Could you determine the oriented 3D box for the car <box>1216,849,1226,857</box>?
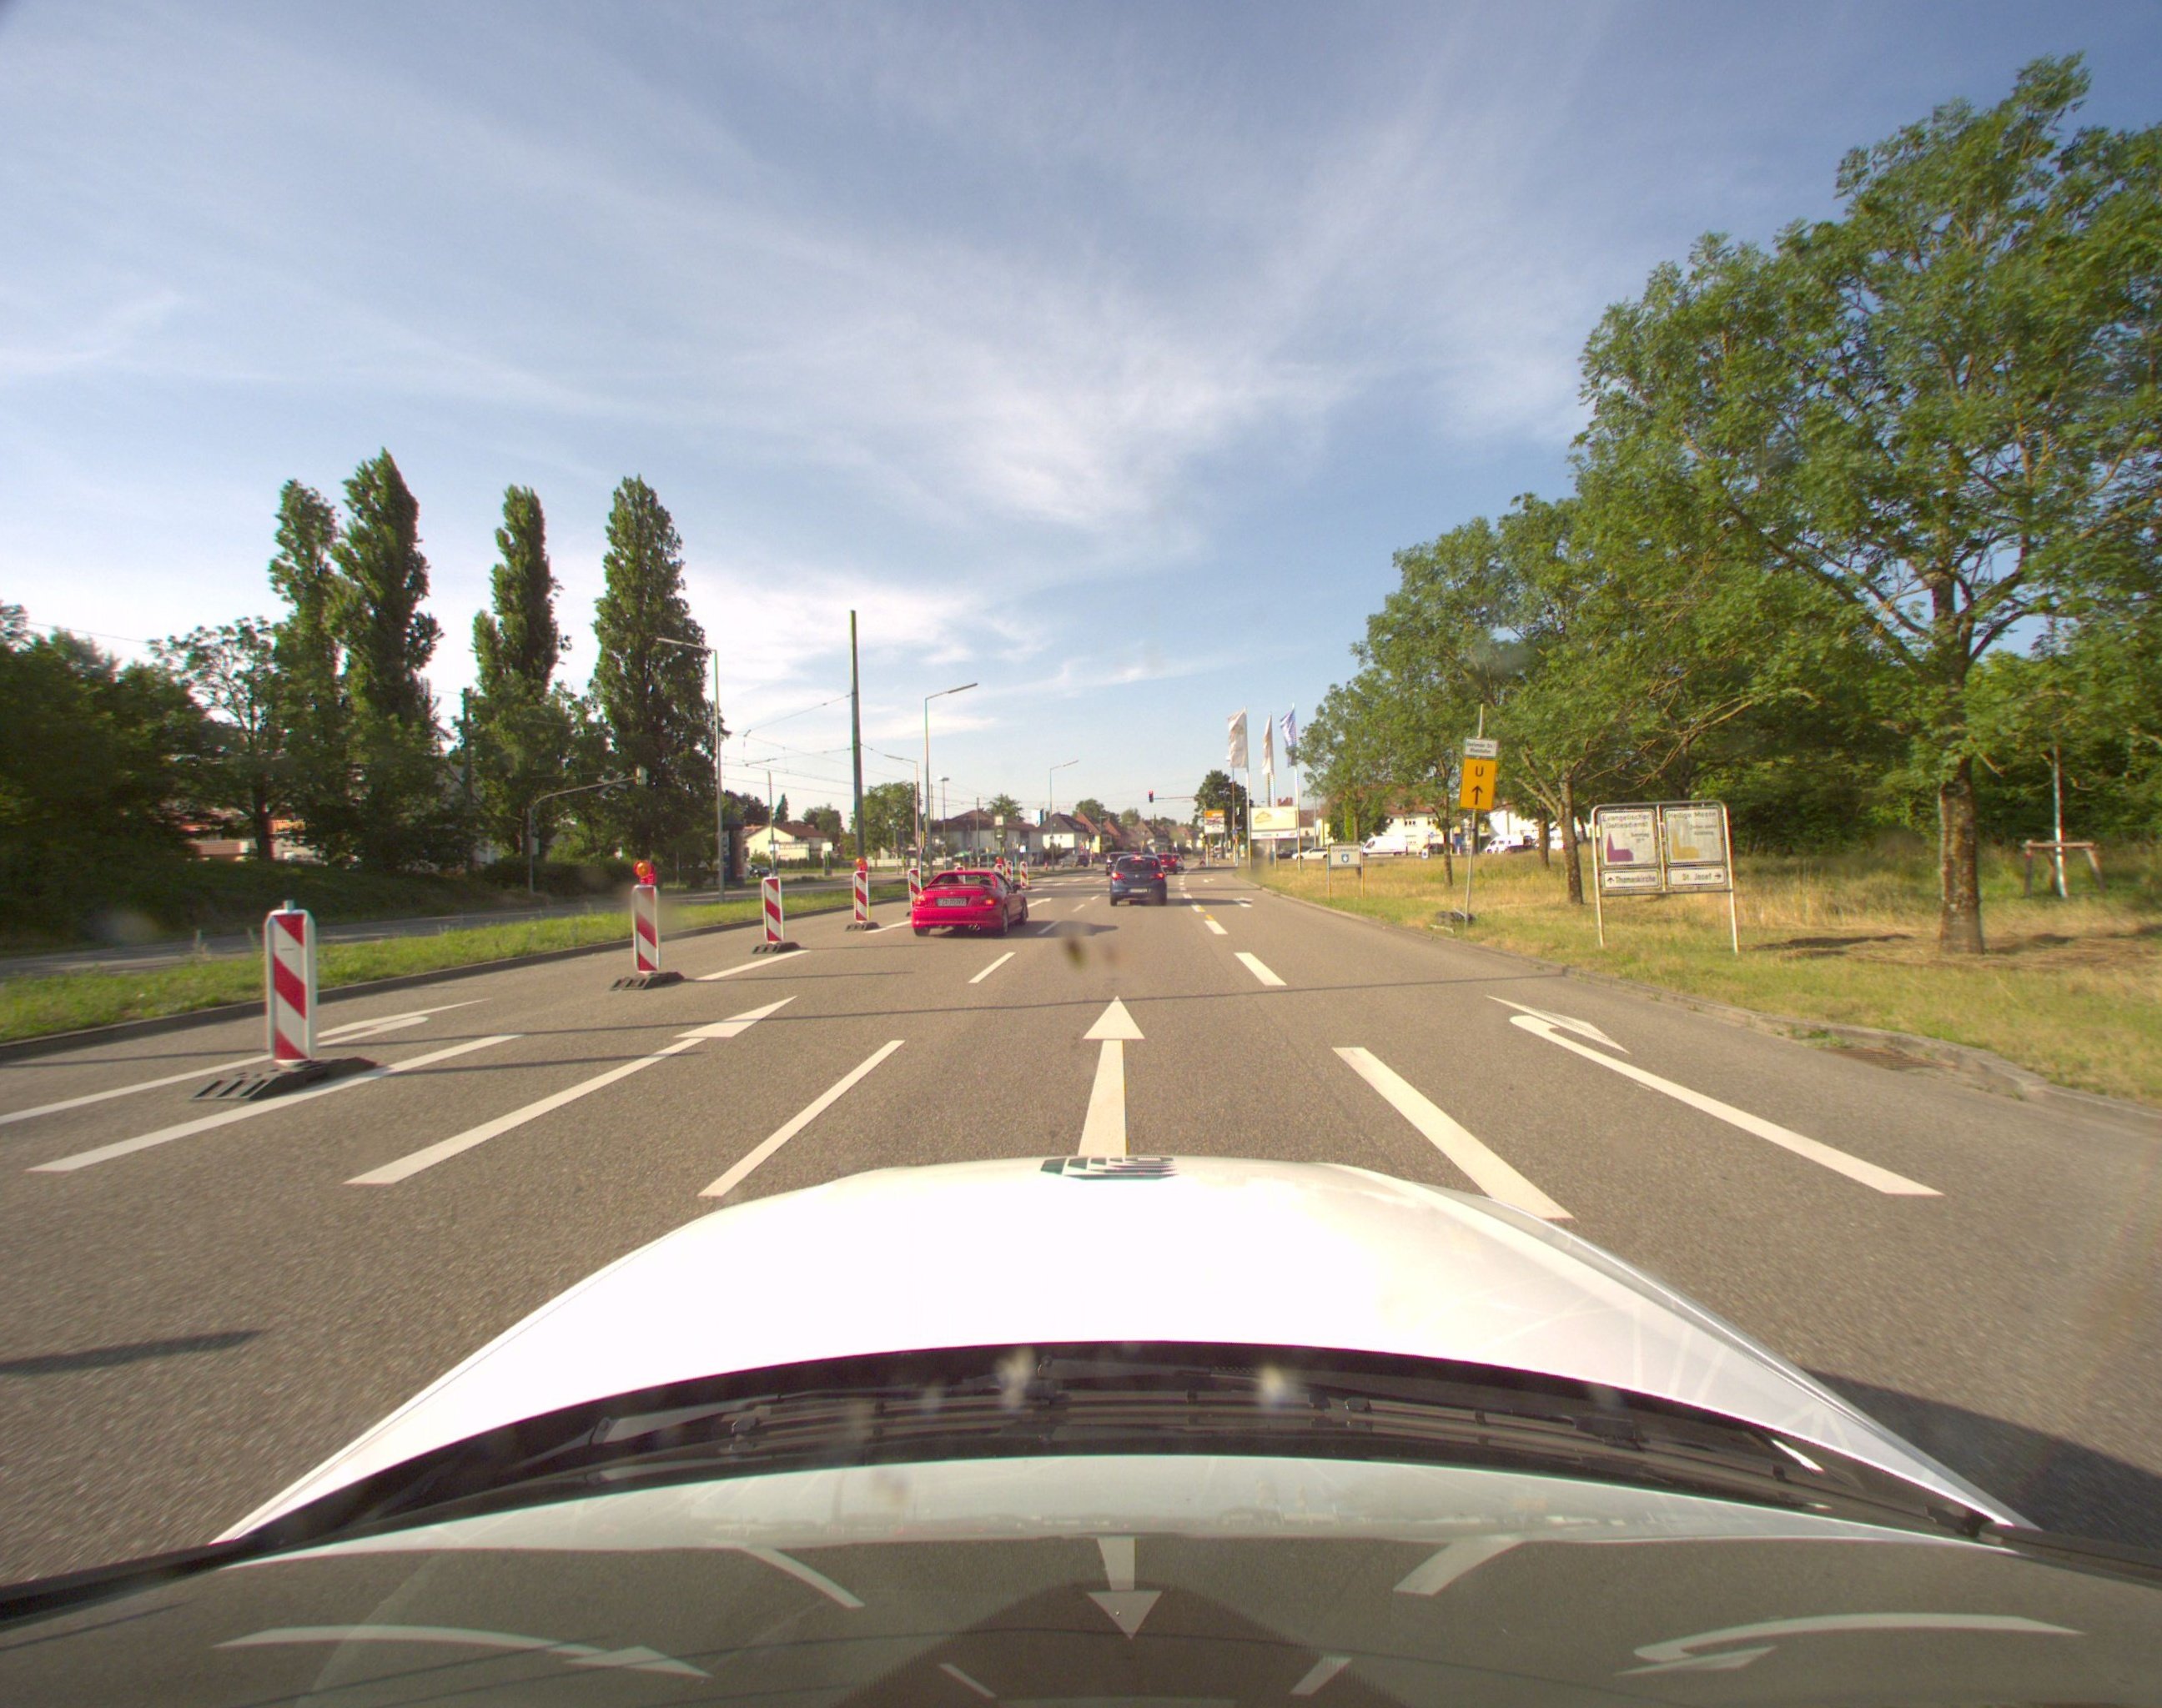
[{"bbox_3d":[24.751,-0.130,144.037,1.664,1.398,4.012,0,-1,11],"label":"car"}]

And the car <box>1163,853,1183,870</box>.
[{"bbox_3d":[8.121,0.635,71.637,1.647,1.443,4.023,-2,0,8],"label":"car"}]

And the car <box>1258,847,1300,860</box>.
[{"bbox_3d":[23.979,-0.096,98.866,4.793,1.411,1.721,-2,0,11],"label":"car"}]

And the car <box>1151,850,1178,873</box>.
[{"bbox_3d":[6.005,0.504,58.344,1.697,1.552,3.986,-2,0,8],"label":"car"}]

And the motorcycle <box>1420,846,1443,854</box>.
[{"bbox_3d":[39.476,-0.479,91.703,2.257,0.866,0.692,-2,0,9],"label":"motorcycle"}]

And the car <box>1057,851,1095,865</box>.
[{"bbox_3d":[-0.580,0.505,95.893,3.950,1.486,2.012,-2,0,27],"label":"car"}]

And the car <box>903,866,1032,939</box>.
[{"bbox_3d":[-2.127,0.881,16.302,1.723,1.206,3.852,0,0,5],"label":"car"}]

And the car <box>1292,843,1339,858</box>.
[{"bbox_3d":[27.226,-0.376,94.585,5.062,1.563,1.845,-2,0,11],"label":"car"}]

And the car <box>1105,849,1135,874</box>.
[{"bbox_3d":[2.779,0.517,57.495,1.754,1.670,4.093,-1,0,7],"label":"car"}]

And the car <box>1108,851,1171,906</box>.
[{"bbox_3d":[1.749,0.702,25.393,1.735,1.505,4.224,-2,0,2],"label":"car"}]

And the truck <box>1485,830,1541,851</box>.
[{"bbox_3d":[55.736,-1.676,105.312,2.281,2.524,6.306,-2,1,-24],"label":"truck"}]

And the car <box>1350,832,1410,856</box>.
[{"bbox_3d":[34.277,-1.130,93.409,6.169,2.583,2.006,-2,0,10],"label":"car"}]

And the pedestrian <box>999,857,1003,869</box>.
[{"bbox_3d":[-11.459,1.309,116.835,0.509,1.599,0.540,-2,0,4],"label":"pedestrian"}]
